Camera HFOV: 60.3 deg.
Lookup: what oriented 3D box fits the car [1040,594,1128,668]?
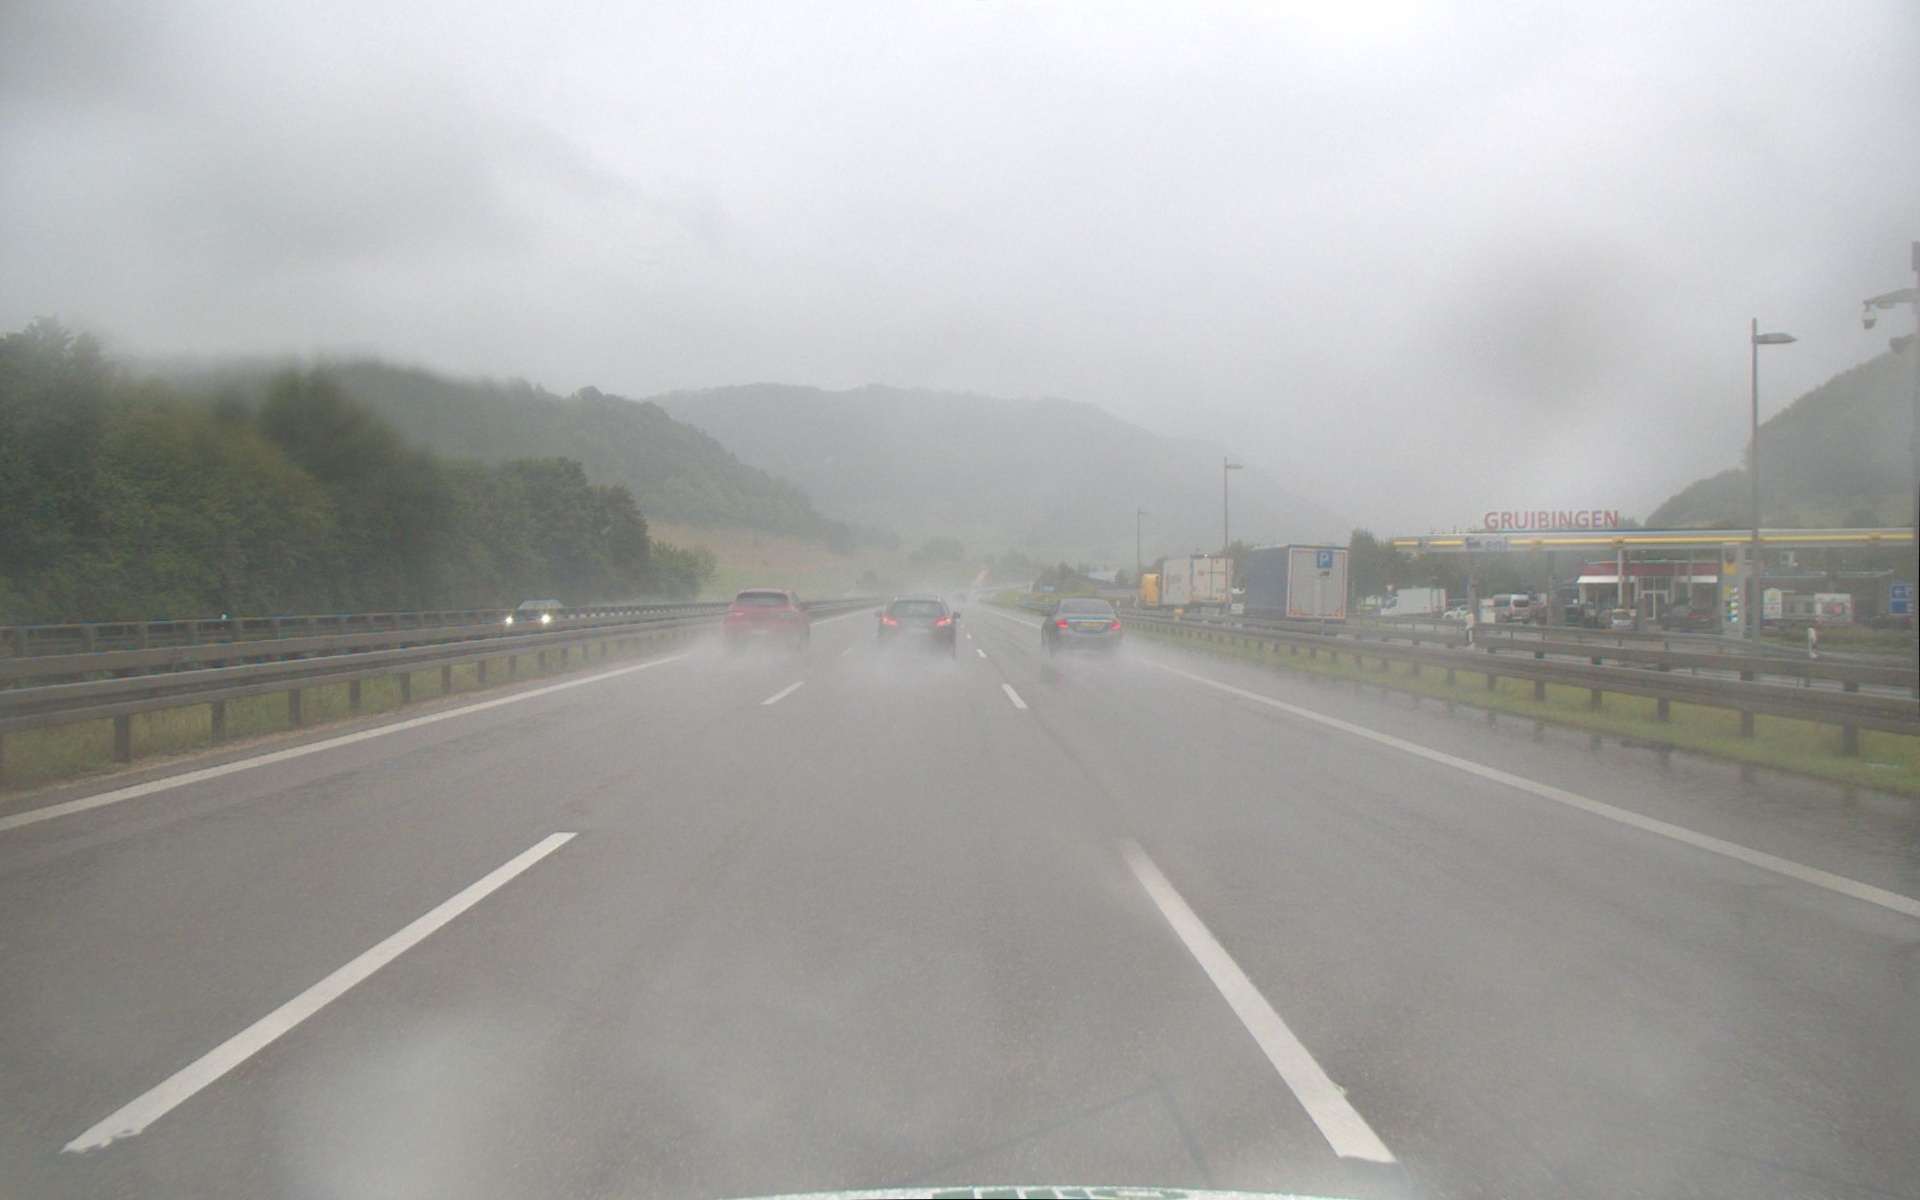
[{"bbox_3d":[3.160,0.754,42.692,1.931,1.791,4.000,1,0,0],"label":"car"}]

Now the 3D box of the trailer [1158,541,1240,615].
[{"bbox_3d":[14.908,-1.293,104.108,3.444,4.336,11.920,1,0,0],"label":"trailer"}]

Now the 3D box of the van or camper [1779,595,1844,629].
[{"bbox_3d":[53.279,0.763,103.553,1.953,2.049,3.999,1,0,-1],"label":"van or camper"}]

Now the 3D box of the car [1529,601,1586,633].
[{"bbox_3d":[40.227,1.128,111.510,1.953,2.049,4.900,1,0,-1],"label":"car"}]

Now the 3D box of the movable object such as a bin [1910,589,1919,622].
[{"bbox_3d":[60.332,0.371,100.374,2.122,2.049,5.381,1,0,-1],"label":"movable object such as a bin"}]

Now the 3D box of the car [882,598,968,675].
[{"bbox_3d":[-0.767,0.781,37.535,1.821,1.617,3.999,1,0,0],"label":"car"}]

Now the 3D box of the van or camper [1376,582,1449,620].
[{"bbox_3d":[38.107,0.045,139.466,1.977,3.112,6.098,2,0,-35],"label":"van or camper"}]

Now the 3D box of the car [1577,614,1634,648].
[{"bbox_3d":[40.573,1.914,104.078,1.920,2.049,3.999,1,0,-1],"label":"car"}]

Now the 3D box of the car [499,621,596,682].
[{"bbox_3d":[-16.911,2.063,68.142,2.574,2.267,5.996,1,0,-1],"label":"car"}]

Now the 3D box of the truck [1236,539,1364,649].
[{"bbox_3d":[15.031,-0.276,74.130,3.332,4.479,11.048,2,0,0],"label":"truck"}]

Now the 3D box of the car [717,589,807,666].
[{"bbox_3d":[-4.920,0.653,41.595,1.846,1.847,3.999,0,0,-1],"label":"car"}]

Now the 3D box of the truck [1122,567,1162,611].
[{"bbox_3d":[13.897,-0.786,126.928,2.244,3.202,8.864,1,0,1],"label":"truck"}]

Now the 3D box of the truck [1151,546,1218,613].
[{"bbox_3d":[14.982,-1.304,110.967,3.454,4.293,7.817,1,0,1],"label":"truck"}]

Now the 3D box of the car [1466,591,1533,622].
[{"bbox_3d":[42.819,0.510,131.363,1.967,2.349,5.413,1,0,-23],"label":"car"}]
